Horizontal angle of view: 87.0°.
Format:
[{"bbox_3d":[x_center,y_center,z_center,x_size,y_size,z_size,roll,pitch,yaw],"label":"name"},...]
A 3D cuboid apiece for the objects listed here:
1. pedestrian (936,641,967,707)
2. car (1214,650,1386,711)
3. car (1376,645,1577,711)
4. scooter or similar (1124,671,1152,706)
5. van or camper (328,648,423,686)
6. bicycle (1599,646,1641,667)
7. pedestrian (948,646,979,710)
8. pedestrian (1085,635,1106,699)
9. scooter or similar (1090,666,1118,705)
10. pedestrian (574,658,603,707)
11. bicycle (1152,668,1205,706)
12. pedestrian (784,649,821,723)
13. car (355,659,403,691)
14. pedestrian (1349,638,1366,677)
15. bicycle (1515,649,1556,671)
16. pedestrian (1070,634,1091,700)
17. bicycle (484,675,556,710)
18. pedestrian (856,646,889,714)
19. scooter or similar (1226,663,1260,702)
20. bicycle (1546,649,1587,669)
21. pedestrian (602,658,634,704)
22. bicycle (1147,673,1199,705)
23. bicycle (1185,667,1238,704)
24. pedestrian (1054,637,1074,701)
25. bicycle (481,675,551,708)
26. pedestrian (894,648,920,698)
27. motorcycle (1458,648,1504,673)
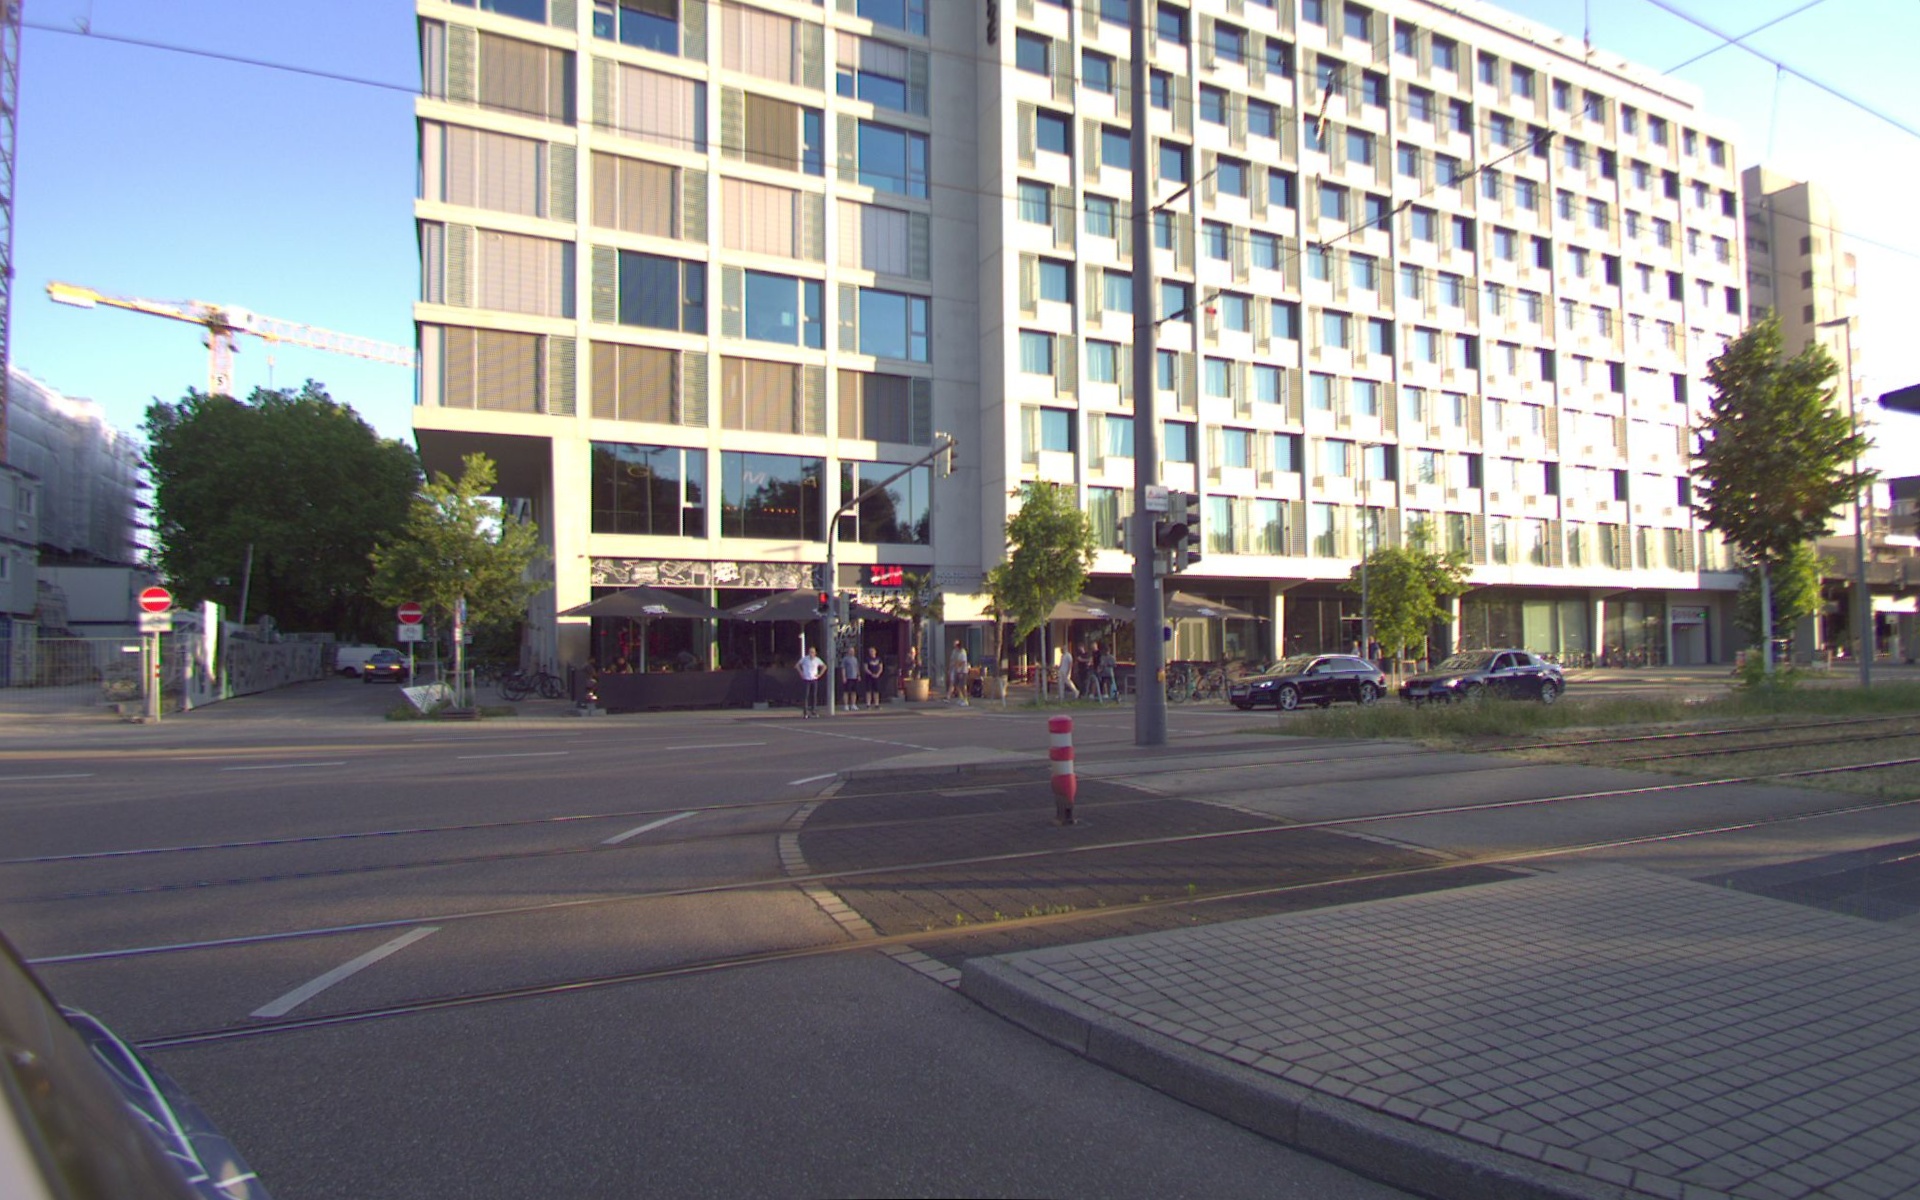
[{"bbox_3d":[-0.258,2.218,30.524,0.696,1.938,0.683,1,-1,-25],"label":"pedestrian"},{"bbox_3d":[9.026,2.135,26.879,4.151,1.451,1.897,1,-6,-28],"label":"car"},{"bbox_3d":[13.021,1.945,25.513,4.718,1.452,2.028,0,-5,-27],"label":"car"},{"bbox_3d":[5.449,2.707,31.001,0.286,1.042,1.013,2,-3,-26],"label":"scooter or similar"},{"bbox_3d":[-38.079,4.319,66.069,4.870,2.139,2.499,-2,-2,-17],"label":"van or camper"},{"bbox_3d":[34.569,2.957,53.042,0.414,1.028,1.798,1,-3,-30],"label":"bicycle"},{"bbox_3d":[0.098,2.292,29.909,0.696,1.836,0.619,1,-1,-24],"label":"pedestrian"},{"bbox_3d":[4.328,2.139,32.301,0.546,2.029,0.500,-2,-3,15],"label":"pedestrian"},{"bbox_3d":[4.369,2.598,30.737,0.332,1.093,0.978,4,-2,-26],"label":"scooter or similar"},{"bbox_3d":[-11.377,2.515,30.985,0.759,1.474,0.608,0,-3,-27],"label":"pedestrian"},{"bbox_3d":[6.803,2.709,31.637,0.435,1.067,1.921,1,-2,-30],"label":"bicycle"},{"bbox_3d":[-4.085,2.221,26.299,0.749,1.850,0.711,1,-1,-28],"label":"pedestrian"},{"bbox_3d":[-31.439,4.014,54.889,1.974,1.610,3.718,1,-3,-26],"label":"car"},{"bbox_3d":[17.330,2.500,44.116,0.507,1.669,0.431,1,-1,-25],"label":"pedestrian"},{"bbox_3d":[28.580,2.977,50.279,0.414,1.028,1.753,1,-3,-30],"label":"bicycle"},{"bbox_3d":[3.791,2.095,31.754,0.546,2.029,0.500,-2,-3,15],"label":"pedestrian"},{"bbox_3d":[-13.303,2.789,30.604,1.944,0.881,0.396,-1,0,-28],"label":"bicycle"},{"bbox_3d":[-2.473,2.246,28.457,0.669,1.850,0.711,2,-1,-28],"label":"pedestrian"},{"bbox_3d":[9.143,2.651,32.759,0.332,1.227,1.189,1,-3,-26],"label":"scooter or similar"},{"bbox_3d":[30.911,2.993,51.588,0.414,1.028,1.798,1,-3,-30],"label":"bicycle"},{"bbox_3d":[-10.727,2.531,31.765,0.761,1.425,0.606,2,-4,-42],"label":"pedestrian"},{"bbox_3d":[6.603,2.750,31.490,0.435,0.877,1.876,1,-2,-30],"label":"bicycle"},{"bbox_3d":[7.984,2.717,32.230,0.435,1.067,1.921,1,-2,-30],"label":"bicycle"},{"bbox_3d":[3.321,2.209,32.341,0.546,2.029,0.500,-2,-3,15],"label":"pedestrian"},{"bbox_3d":[-13.763,2.826,31.382,1.944,0.881,0.396,-1,0,-28],"label":"bicycle"},{"bbox_3d":[-1.736,2.390,33.135,0.696,1.616,0.683,0,-3,-19],"label":"pedestrian"},{"bbox_3d":[25.150,2.909,48.837,0.508,1.180,1.900,2,-3,-41],"label":"motorcycle"}]
